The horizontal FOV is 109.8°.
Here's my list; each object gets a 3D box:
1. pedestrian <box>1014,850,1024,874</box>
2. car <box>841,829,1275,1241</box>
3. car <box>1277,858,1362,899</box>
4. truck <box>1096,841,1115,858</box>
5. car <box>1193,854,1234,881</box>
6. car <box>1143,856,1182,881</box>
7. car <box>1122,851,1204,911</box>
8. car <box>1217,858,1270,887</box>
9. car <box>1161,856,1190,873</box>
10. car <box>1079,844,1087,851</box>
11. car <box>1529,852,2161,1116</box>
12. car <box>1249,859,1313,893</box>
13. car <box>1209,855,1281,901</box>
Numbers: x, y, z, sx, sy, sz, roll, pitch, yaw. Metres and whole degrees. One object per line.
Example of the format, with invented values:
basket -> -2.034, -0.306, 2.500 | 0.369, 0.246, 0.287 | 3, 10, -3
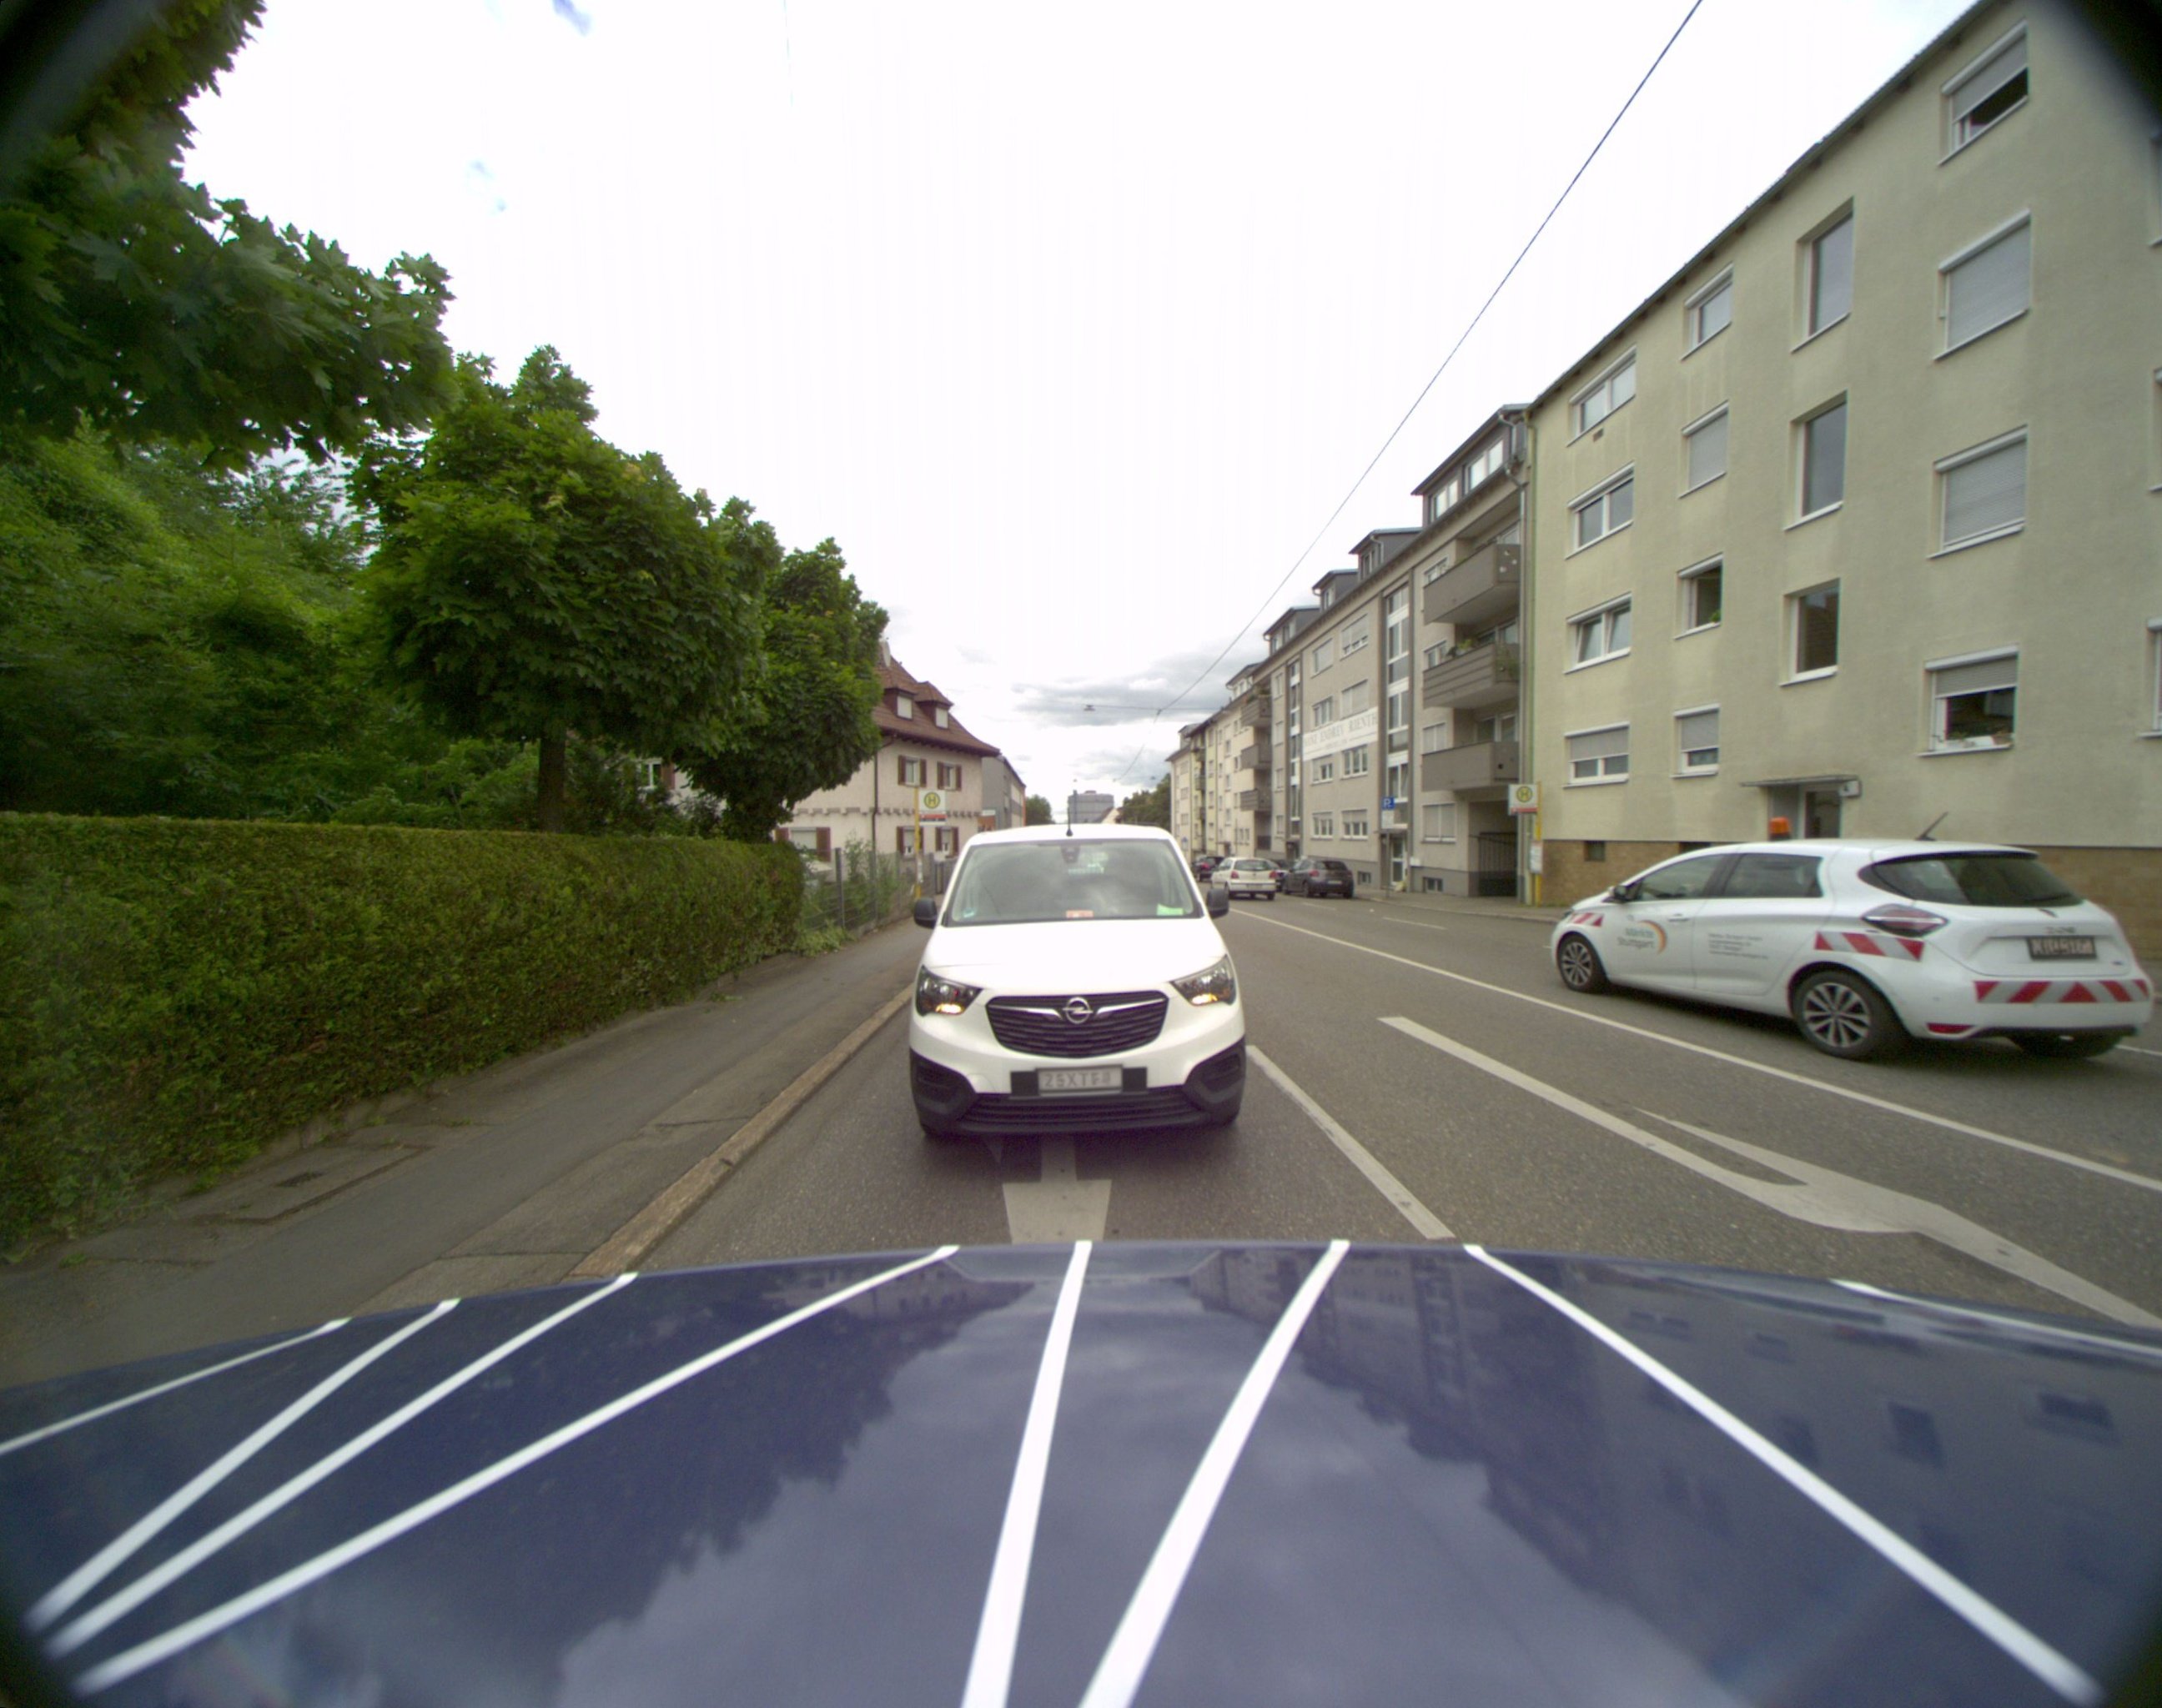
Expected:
pedestrian -> -4.629, 0.597, 56.656 | 0.647, 1.830, 0.592 | -1, 1, 4
car -> -0.068, 0.785, 5.732 | 1.862, 1.772, 4.711 | -2, 1, 1
car -> 8.908, 0.882, 28.666 | 1.776, 1.403, 3.685 | 0, 1, -5
truck -> 3.610, -0.687, 114.883 | 2.547, 2.522, 5.493 | -1, 0, -1
car -> 8.451, 0.839, 48.680 | 1.776, 1.591, 3.538 | 0, 1, -5
car -> 4.979, 0.858, 46.903 | 1.776, 1.395, 3.642 | 0, 1, -5
car -> 2.441, 0.753, 23.744 | 1.863, 1.601, 4.478 | -2, 1, -2
car -> 8.405, 0.913, 39.546 | 1.776, 1.395, 3.538 | 0, 1, -5
car -> 8.138, 0.883, 65.603 | 1.776, 1.395, 3.757 | 0, 1, -5
car -> 0.593, -1.728, 205.175 | 1.999, 1.892, 3.998 | -1, 0, -4
car -> 5.983, 0.761, 6.519 | 1.775, 1.513, 4.082 | 0, 1, -2
car -> 8.744, 0.918, 33.518 | 1.669, 1.368, 3.538 | 0, 1, -5
car -> 5.694, 0.798, 26.817 | 1.593, 1.474, 3.598 | -1, 1, -3
